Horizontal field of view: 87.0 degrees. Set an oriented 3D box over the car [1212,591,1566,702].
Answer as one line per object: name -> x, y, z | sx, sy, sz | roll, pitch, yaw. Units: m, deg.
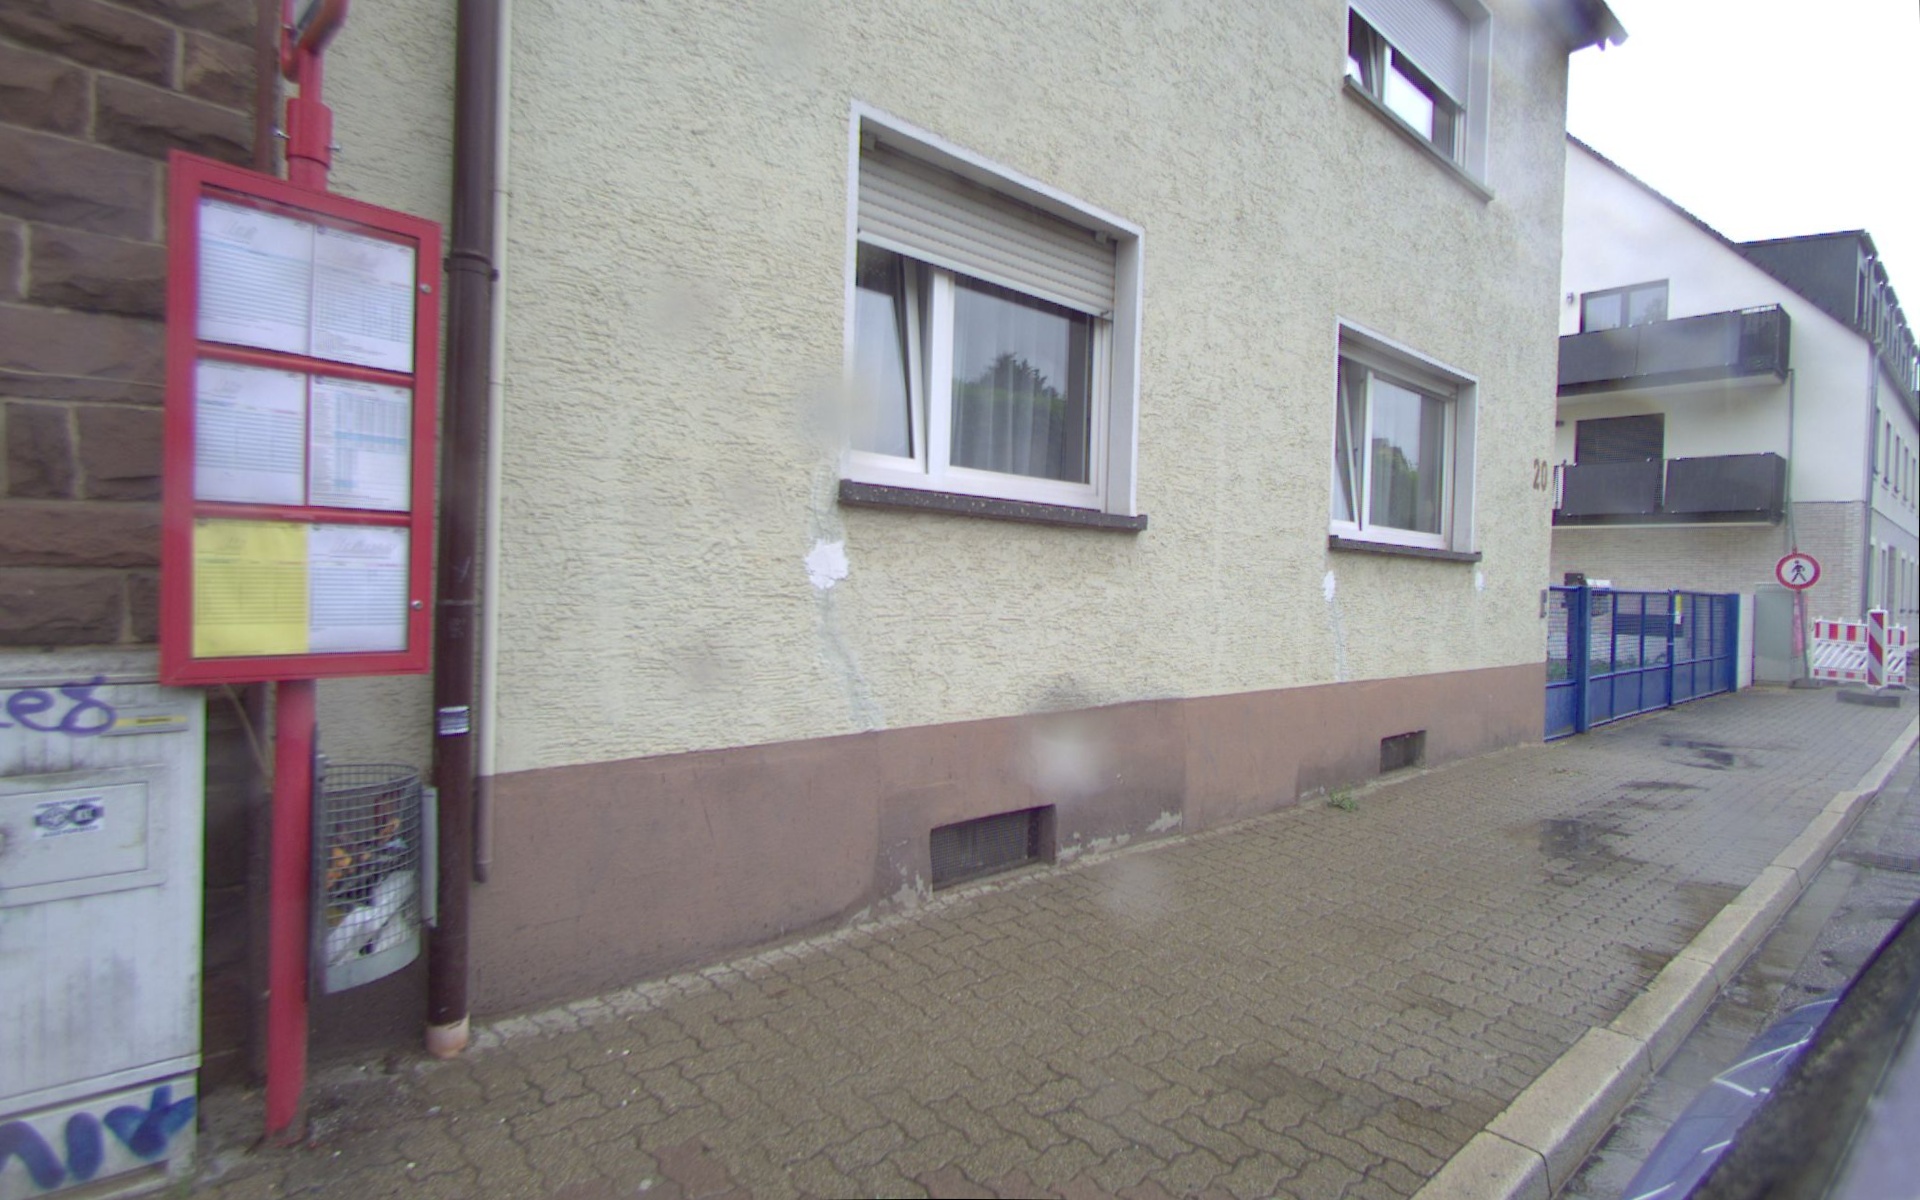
car -> 5.856, 0.604, 14.187 | 1.880, 1.319, 4.148 | 0, -1, -42
